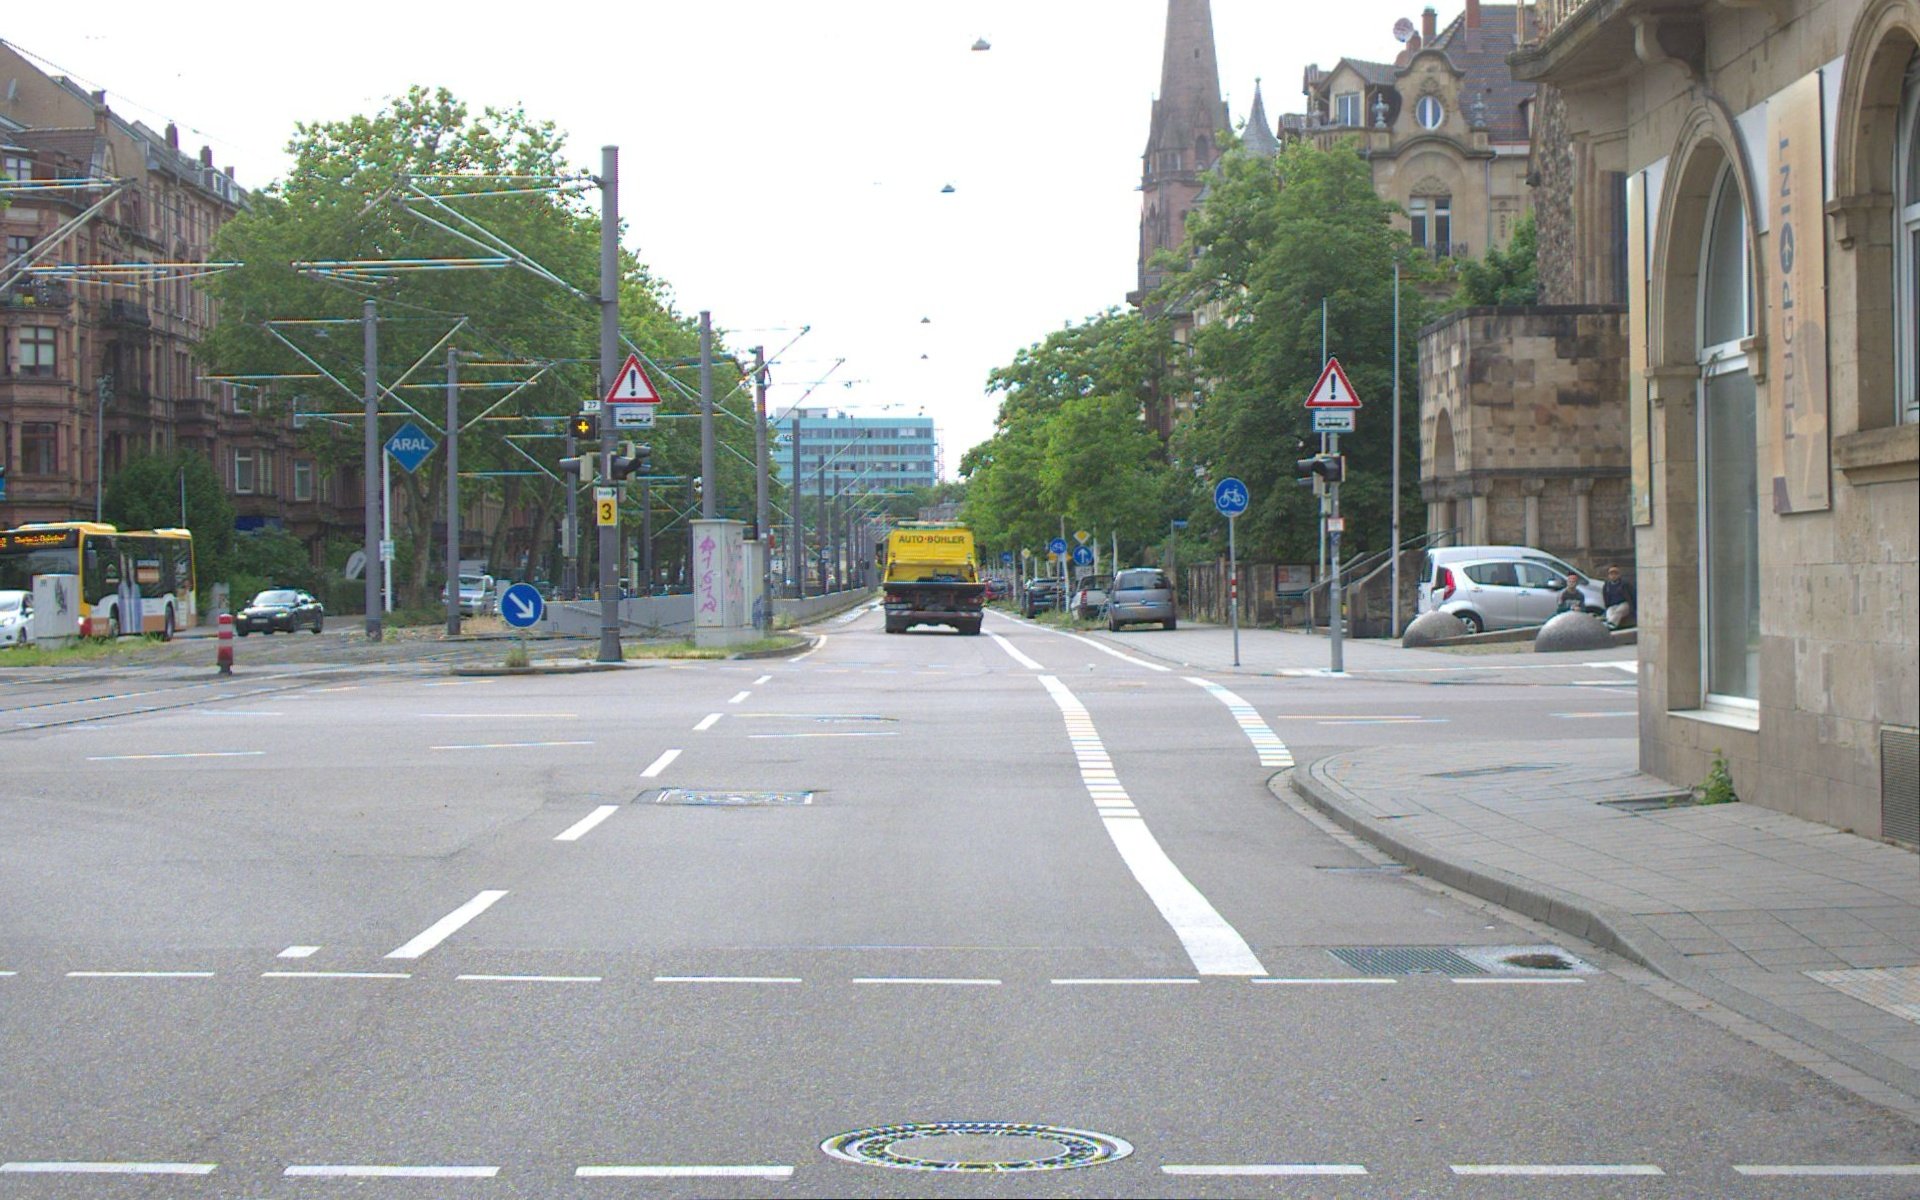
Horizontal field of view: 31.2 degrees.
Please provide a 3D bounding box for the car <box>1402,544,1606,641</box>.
[{"bbox_3d":[10.792,-0.165,68.403,3.713,1.849,2.000,1,0,0],"label":"car"}]

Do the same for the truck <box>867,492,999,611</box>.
[{"bbox_3d":[-0.722,-1.202,85.516,3.055,2.759,9.816,0,1,-1],"label":"truck"}]

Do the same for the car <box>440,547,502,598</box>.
[{"bbox_3d":[-19.927,-1.117,140.195,1.993,2.007,4.000,1,1,-1],"label":"car"}]

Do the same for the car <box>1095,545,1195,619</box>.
[{"bbox_3d":[4.867,-0.478,89.983,1.994,1.849,4.024,1,1,12],"label":"car"}]

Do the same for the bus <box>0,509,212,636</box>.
[{"bbox_3d":[-22.479,-0.734,89.093,3.231,3.025,12.311,1,1,1],"label":"bus"}]

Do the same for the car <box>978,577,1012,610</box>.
[{"bbox_3d":[2.193,-0.418,216.835,1.993,2.007,4.000,1,1,-1],"label":"car"}]

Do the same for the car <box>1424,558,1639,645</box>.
[{"bbox_3d":[10.763,0.013,64.940,3.713,1.558,2.000,1,0,0],"label":"car"}]

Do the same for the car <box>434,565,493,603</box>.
[{"bbox_3d":[-21.532,-0.708,149.277,1.993,1.605,4.000,1,1,-1],"label":"car"}]

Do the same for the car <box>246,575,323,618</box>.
[{"bbox_3d":[-21.459,-0.128,109.370,1.656,1.316,3.638,1,1,1],"label":"car"}]

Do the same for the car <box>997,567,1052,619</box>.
[{"bbox_3d":[2.536,-0.286,136.082,1.993,2.007,4.000,1,1,-1],"label":"car"}]

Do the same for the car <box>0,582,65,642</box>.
[{"bbox_3d":[-21.911,0.255,79.044,1.656,1.316,3.638,1,1,1],"label":"car"}]

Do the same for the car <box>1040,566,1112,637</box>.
[{"bbox_3d":[3.342,0.026,99.596,1.993,2.007,4.000,1,1,1],"label":"car"}]

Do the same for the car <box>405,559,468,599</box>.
[{"bbox_3d":[-21.539,-0.887,141.519,1.993,1.605,4.000,1,1,-1],"label":"car"}]
